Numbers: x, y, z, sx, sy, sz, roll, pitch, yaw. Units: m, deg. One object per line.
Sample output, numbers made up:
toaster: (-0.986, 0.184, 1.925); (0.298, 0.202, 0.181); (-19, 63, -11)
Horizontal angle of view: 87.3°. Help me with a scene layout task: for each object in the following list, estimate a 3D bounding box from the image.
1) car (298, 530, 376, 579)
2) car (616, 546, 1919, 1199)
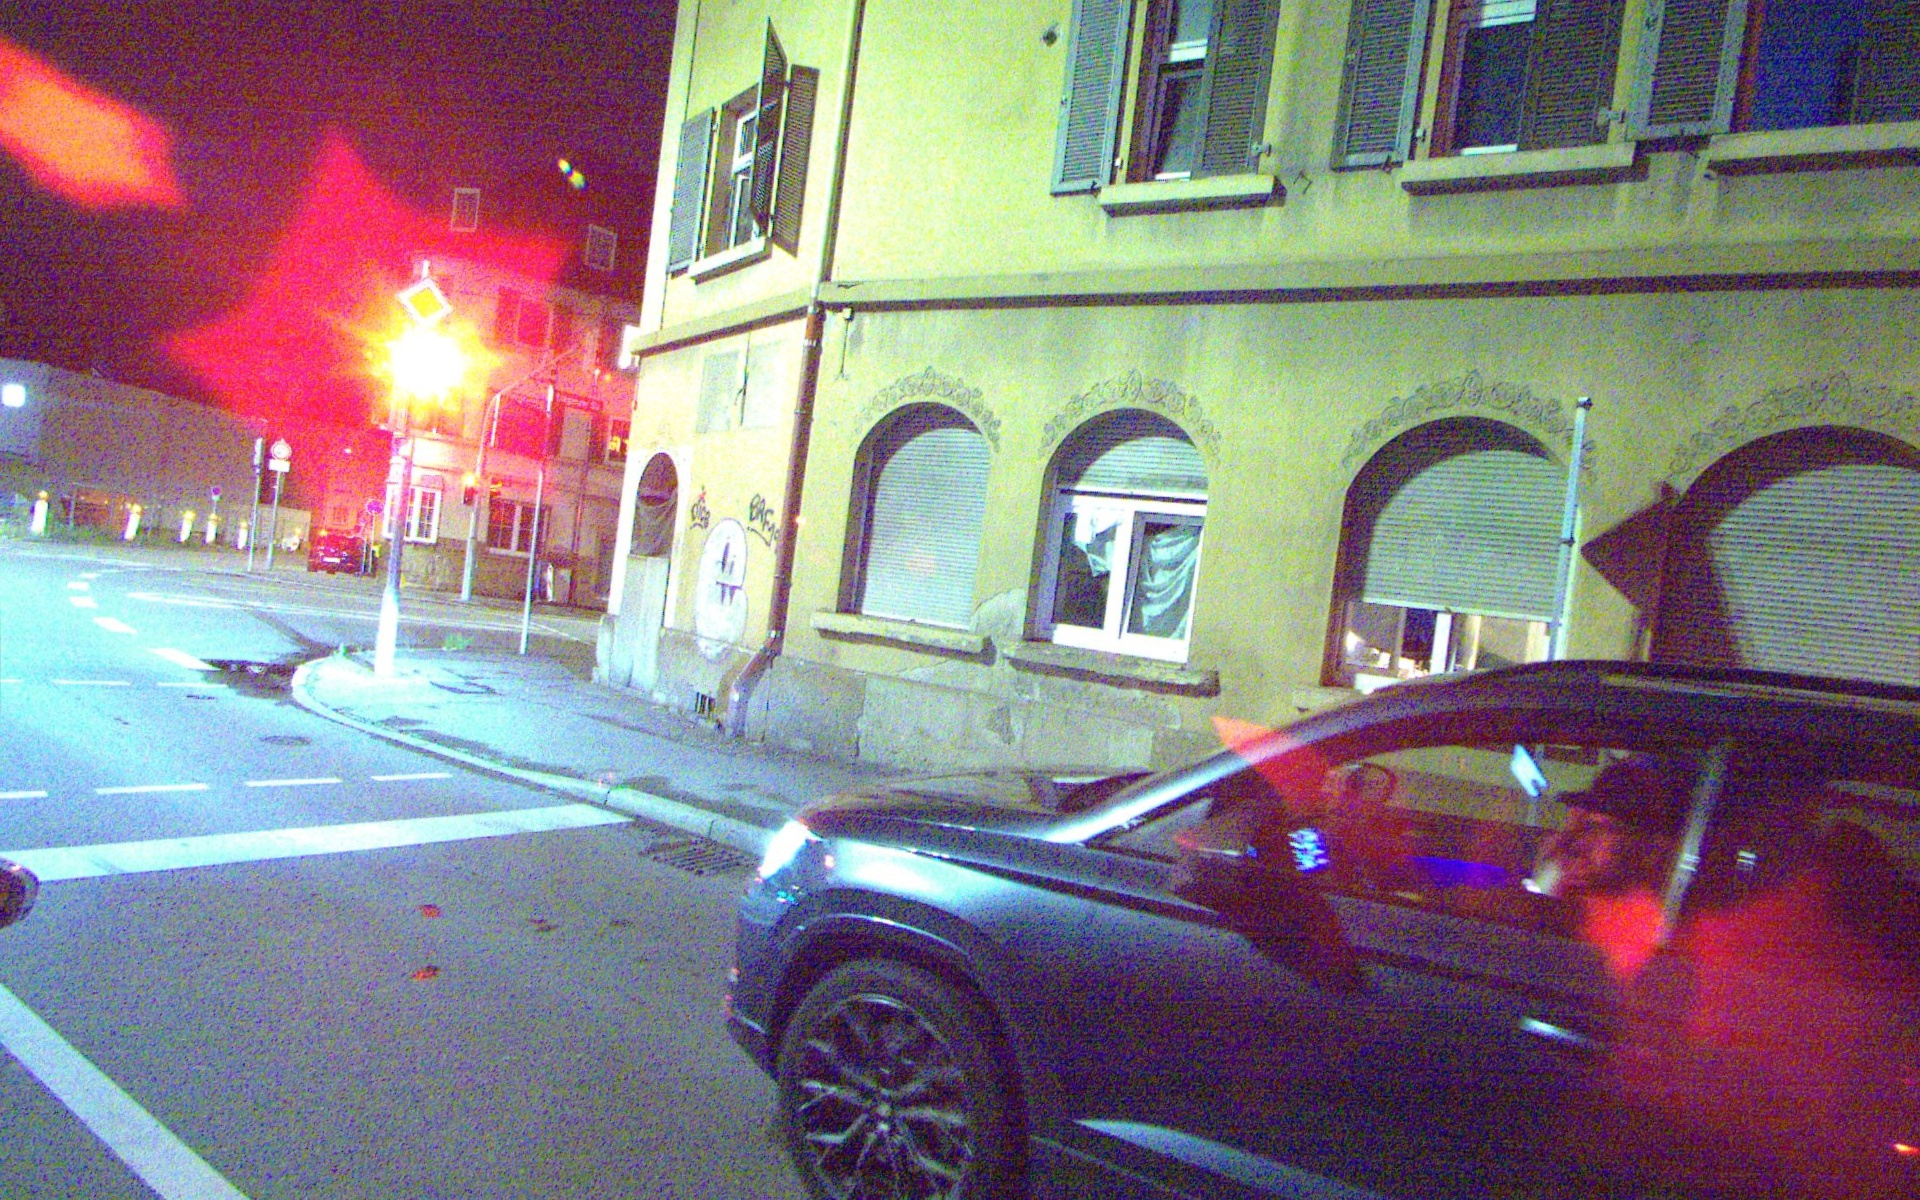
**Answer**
car: (-24.514, -1.754, 39.726); (1.708, 1.631, 3.610); (7, -1, -19)
car: (1.369, 0.913, 2.440); (4.157, 1.629, 1.674); (6, -1, 29)
